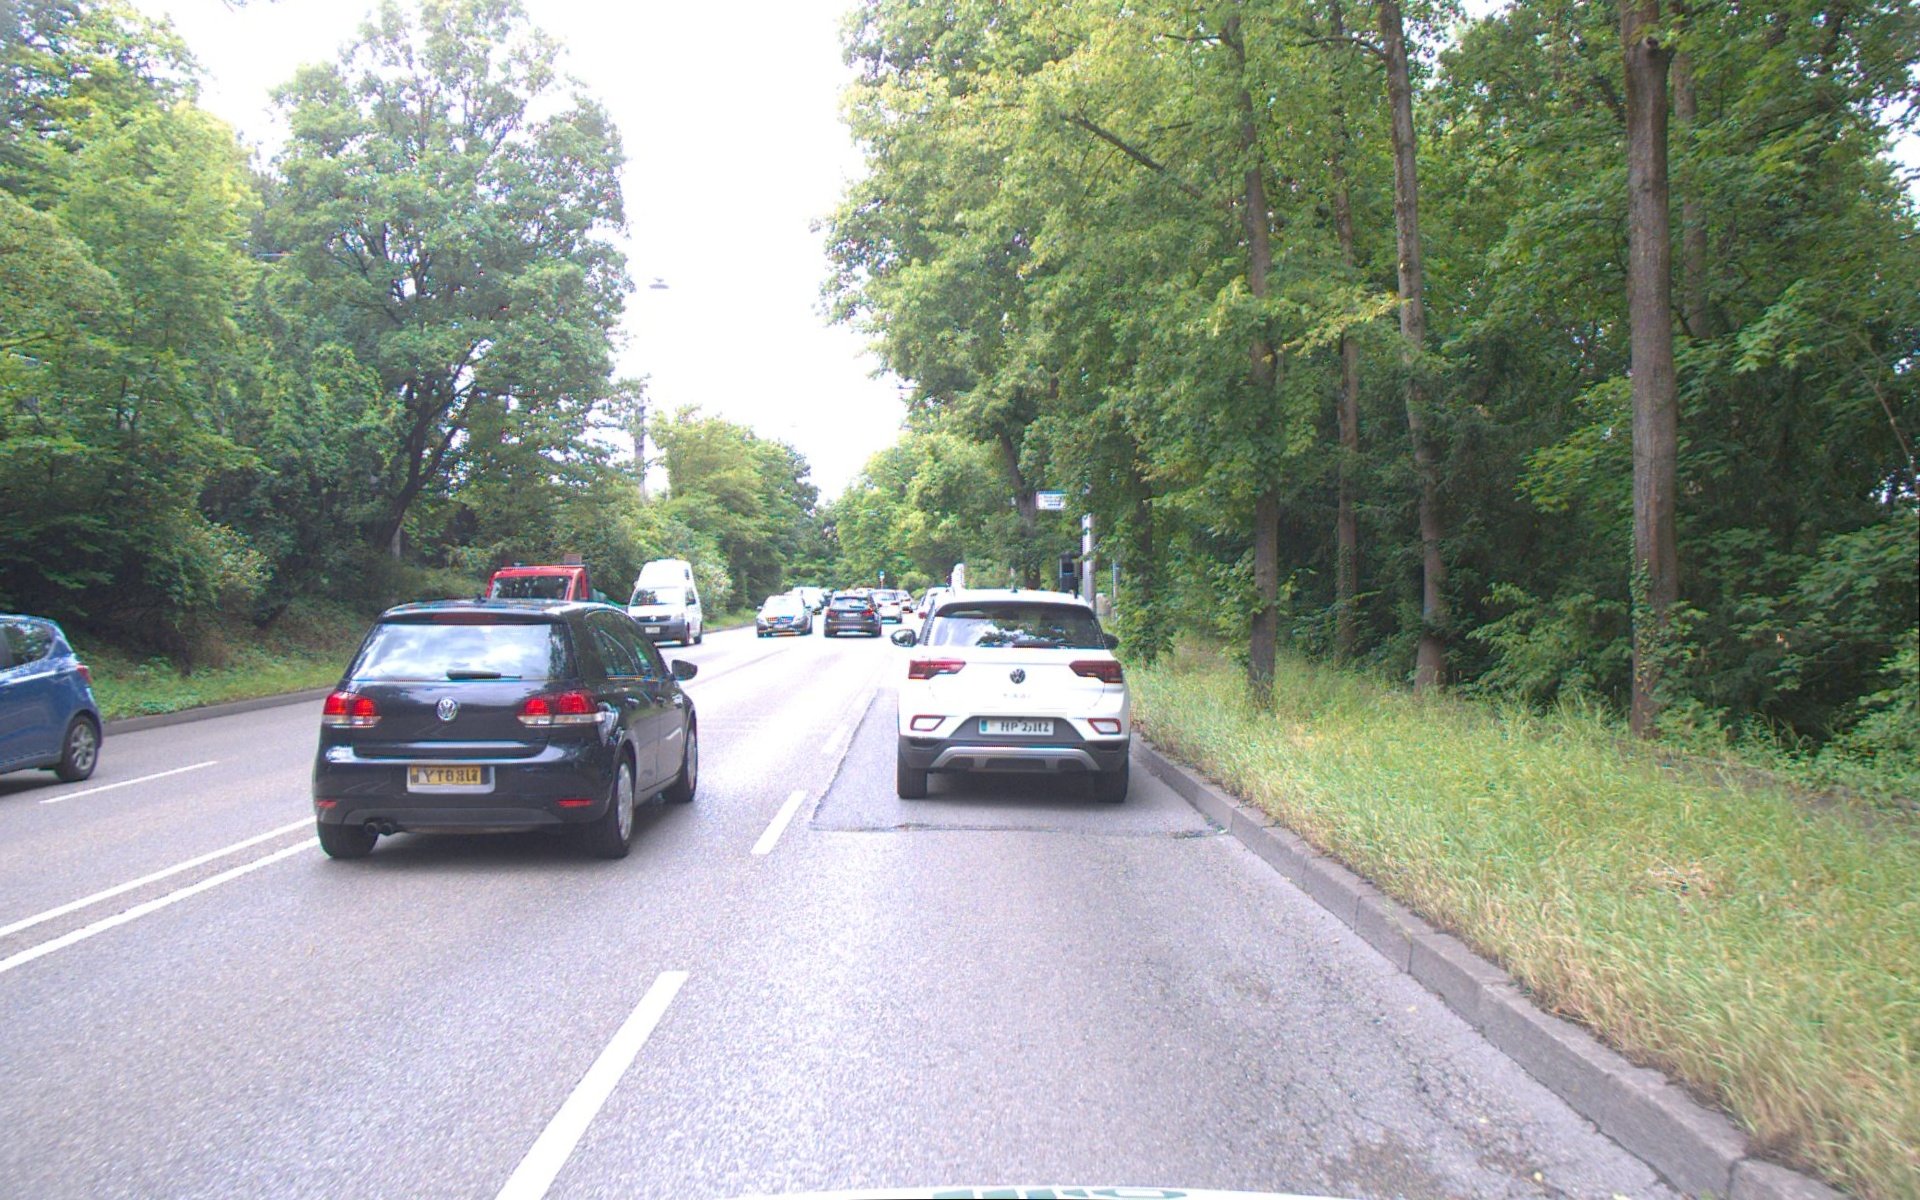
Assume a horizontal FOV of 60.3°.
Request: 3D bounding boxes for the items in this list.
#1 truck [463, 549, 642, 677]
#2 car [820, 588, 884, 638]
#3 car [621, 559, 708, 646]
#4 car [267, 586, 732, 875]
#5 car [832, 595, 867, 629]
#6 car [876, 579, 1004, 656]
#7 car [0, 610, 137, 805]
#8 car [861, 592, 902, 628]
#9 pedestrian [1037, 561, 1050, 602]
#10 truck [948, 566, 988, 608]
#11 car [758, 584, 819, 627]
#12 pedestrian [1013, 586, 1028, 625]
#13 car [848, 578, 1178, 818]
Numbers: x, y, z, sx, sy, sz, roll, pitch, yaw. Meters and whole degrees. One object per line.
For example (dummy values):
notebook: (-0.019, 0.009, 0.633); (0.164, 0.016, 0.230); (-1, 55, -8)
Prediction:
truck: (-8.775, 0.270, 36.323); (2.132, 2.453, 6.465); (-3, 0, 1)
car: (-3.657, 0.438, 56.685); (1.953, 1.620, 3.999); (1, 0, -1)
car: (-9.169, 0.083, 51.705); (1.848, 2.600, 4.914); (0, 0, 0)
car: (-2.685, 0.692, 10.659); (1.910, 1.492, 3.999); (1, 0, -1)
car: (-6.601, 0.754, 99.495); (1.773, 1.691, 4.828); (-2, -4, 0)
car: (-0.559, 0.410, 41.443); (1.826, 1.732, 3.973); (-3, 1, -22)
car: (-8.350, 0.870, 13.203); (1.636, 1.512, 3.998); (-2, 0, -2)
car: (-3.711, 0.478, 78.812); (1.784, 1.651, 3.999); (1, 0, -1)
pedestrian: (3.724, -0.809, 73.441); (0.509, 1.784, 0.524); (1, 0, -4)
truck: (0.594, -0.997, 131.218); (2.434, 3.237, 7.219); (1, 0, -6)
car: (-6.192, 0.207, 60.060); (1.801, 1.491, 4.465); (1, 0, -1)
pedestrian: (2.691, 0.255, 73.079); (0.597, 1.727, 0.548); (1, 0, -4)
car: (0.248, 0.678, 13.352); (1.963, 1.624, 3.992); (1, 0, -9)
